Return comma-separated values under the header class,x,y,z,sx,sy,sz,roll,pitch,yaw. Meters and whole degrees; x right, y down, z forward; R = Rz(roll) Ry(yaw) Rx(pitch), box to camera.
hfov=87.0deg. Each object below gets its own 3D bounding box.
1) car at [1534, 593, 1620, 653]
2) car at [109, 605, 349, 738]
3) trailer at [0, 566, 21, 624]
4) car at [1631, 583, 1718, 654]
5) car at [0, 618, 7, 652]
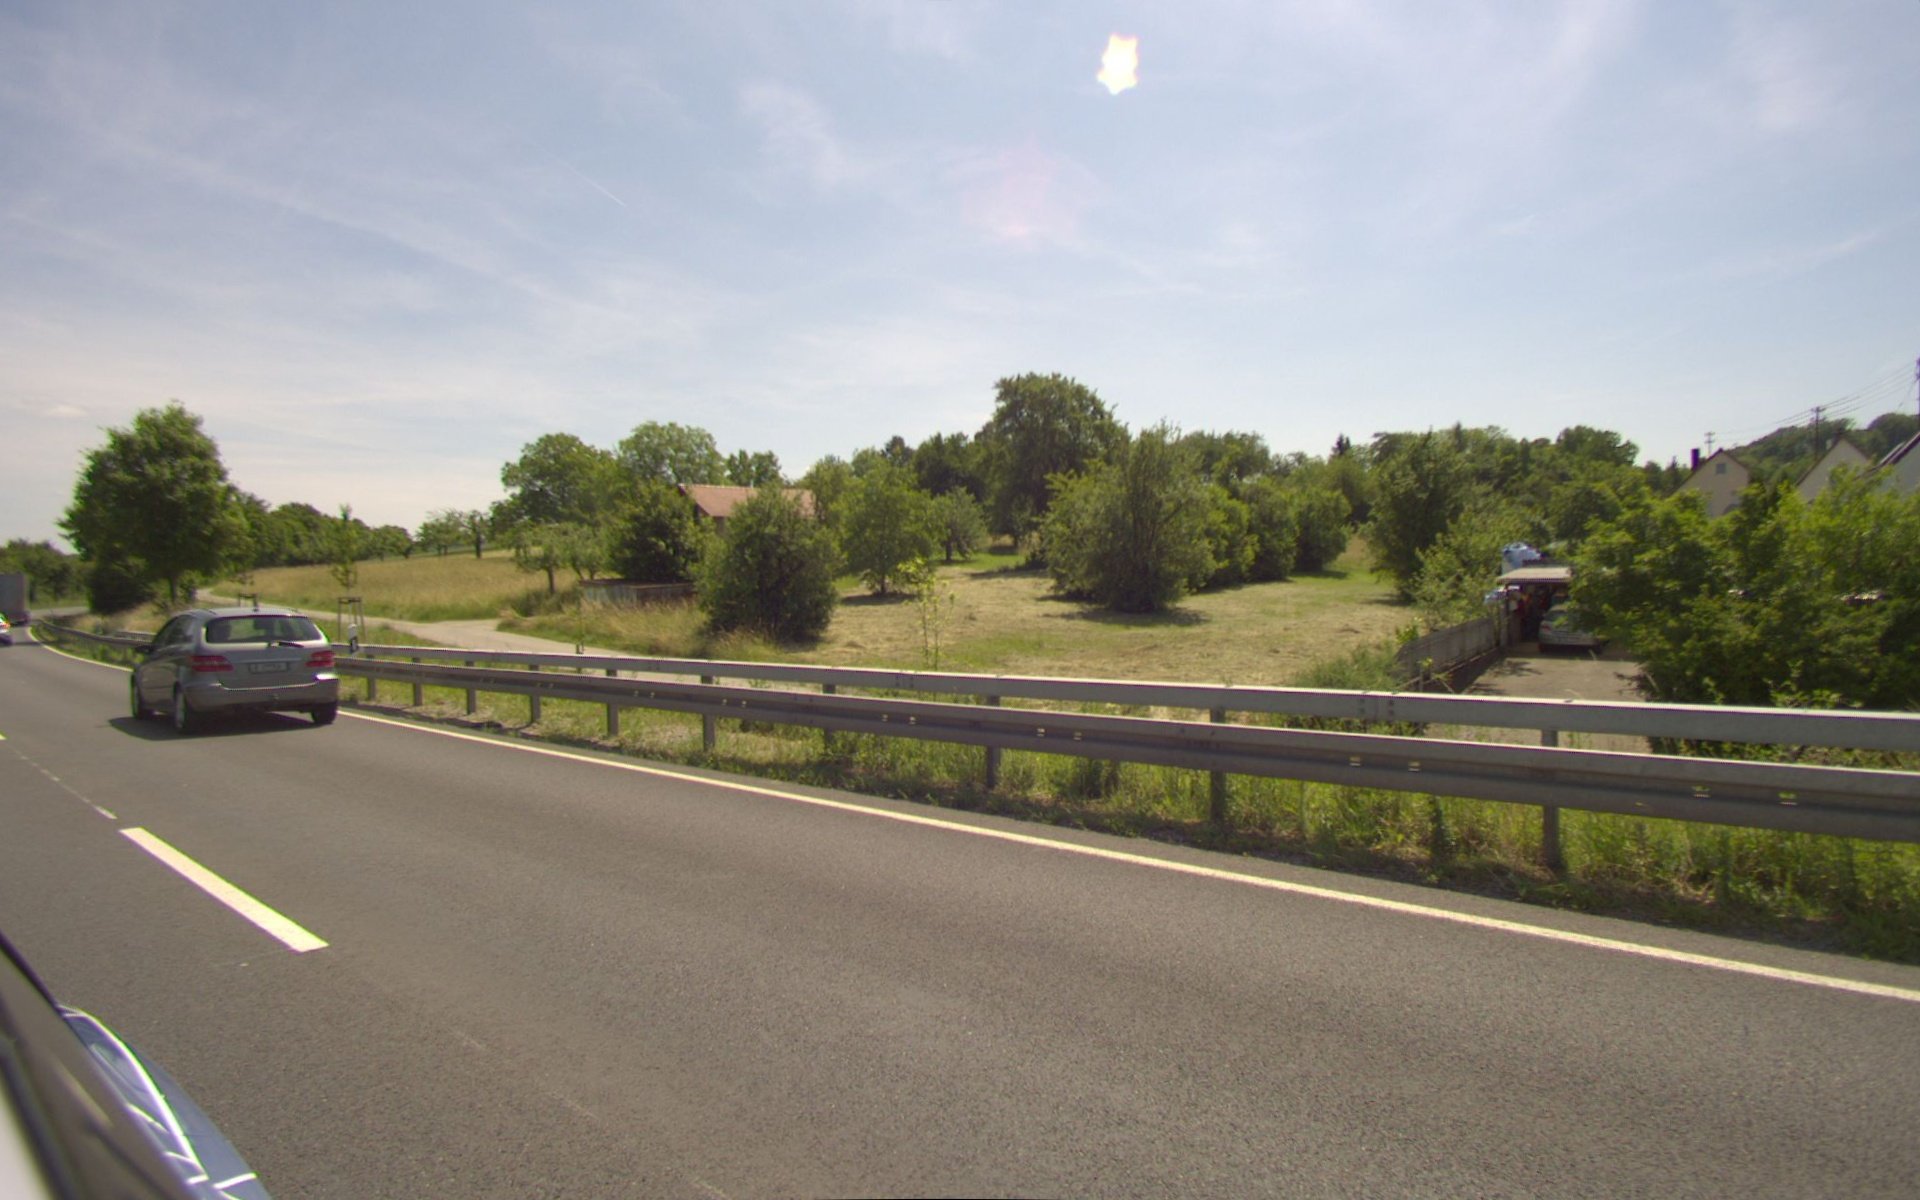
class,x,y,z,sx,sy,sz,roll,pitch,yaw
car,19.905,0.694,32.574,1.781,1.525,3.948,-1,4,40
car,-10.463,0.899,14.366,4.376,1.601,1.788,-1,-1,40
trailer,-75.617,-0.297,79.587,2.417,4.216,14.027,1,-1,-43
car,21.965,0.522,31.052,1.862,1.770,3.948,-1,4,40
car,-42.931,1.540,44.250,4.159,1.452,1.628,-2,-2,44
